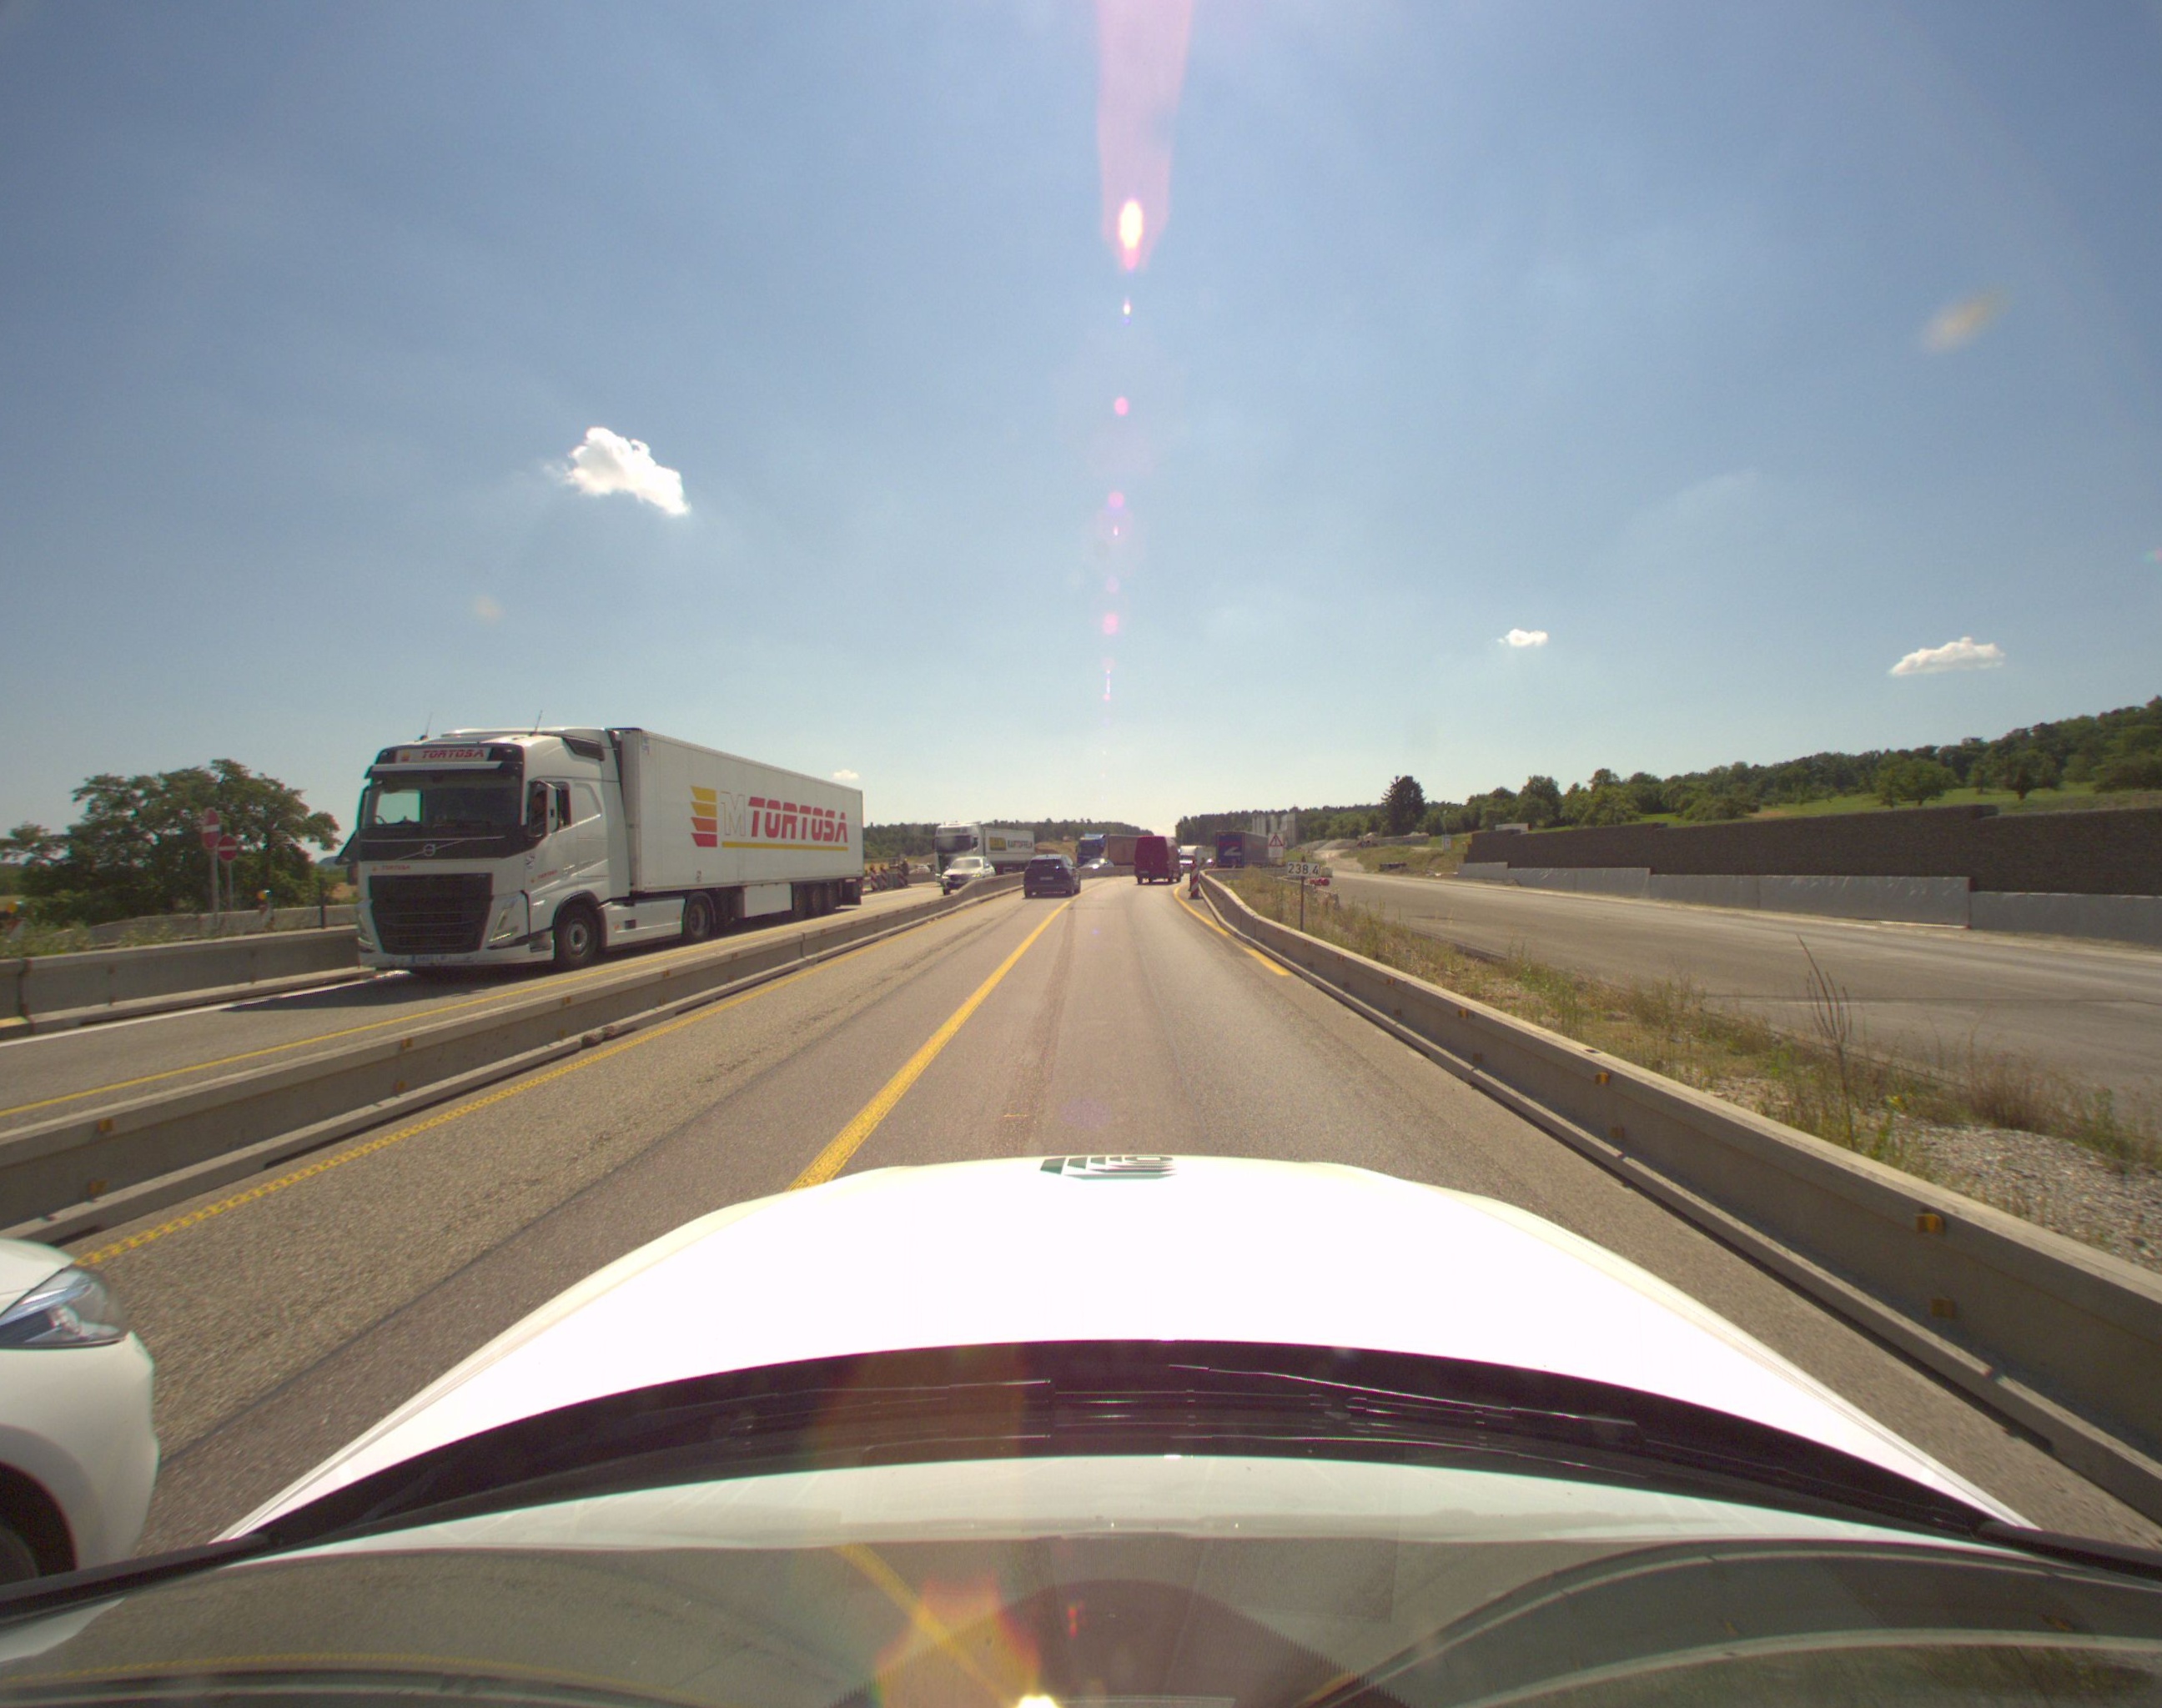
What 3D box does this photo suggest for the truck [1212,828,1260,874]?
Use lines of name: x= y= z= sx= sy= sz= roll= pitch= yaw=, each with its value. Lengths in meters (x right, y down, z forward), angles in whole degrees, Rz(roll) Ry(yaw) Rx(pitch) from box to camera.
truck: x=14.747 y=-0.220 z=76.916 sx=2.990 sy=4.153 sz=8.315 roll=-1 pitch=-1 yaw=21

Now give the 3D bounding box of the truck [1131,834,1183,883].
truck: x=4.500 y=0.266 z=47.088 sx=2.097 sy=2.633 sz=6.507 roll=-1 pitch=-1 yaw=13

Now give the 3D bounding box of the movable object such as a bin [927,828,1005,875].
movable object such as a bin: x=-11.213 y=-0.209 z=80.605 sx=2.897 sy=4.330 sz=9.380 roll=-1 pitch=-1 yaw=26

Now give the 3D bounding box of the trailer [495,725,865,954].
trailer: x=-8.960 y=-0.285 z=21.216 sx=2.805 sy=4.094 sz=13.127 roll=0 pitch=0 yaw=2

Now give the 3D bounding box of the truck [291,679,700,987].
truck: x=-9.163 y=-0.268 z=13.701 sx=2.820 sy=4.132 sz=5.459 roll=0 pitch=-1 yaw=1

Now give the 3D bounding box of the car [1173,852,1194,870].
car: x=9.592 y=0.663 z=76.037 sx=1.791 sy=1.579 sz=4.010 roll=-1 pitch=-1 yaw=9

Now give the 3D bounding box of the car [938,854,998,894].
car: x=-5.219 y=0.899 z=38.214 sx=1.985 sy=1.739 sz=4.496 roll=0 pitch=-1 yaw=3

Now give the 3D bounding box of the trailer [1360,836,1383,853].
trailer: x=72.155 y=-2.286 z=202.371 sx=2.752 sy=4.114 sz=6.732 roll=0 pitch=-1 yaw=-5

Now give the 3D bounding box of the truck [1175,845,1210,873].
truck: x=14.099 y=0.650 z=102.554 sx=2.556 sy=3.381 sz=6.965 roll=-1 pitch=-1 yaw=23

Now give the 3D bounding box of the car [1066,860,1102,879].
car: x=0.297 y=1.221 z=66.283 sx=1.741 sy=1.478 sz=4.556 roll=-1 pitch=-1 yaw=16

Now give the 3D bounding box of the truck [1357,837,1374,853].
truck: x=71.858 y=-2.259 z=205.804 sx=2.741 sy=4.096 sz=4.092 roll=0 pitch=-1 yaw=-6

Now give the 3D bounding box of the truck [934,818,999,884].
truck: x=-7.243 y=-0.174 z=52.258 sx=2.431 sy=4.008 sz=5.095 roll=-1 pitch=-1 yaw=13

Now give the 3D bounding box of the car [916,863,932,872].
car: x=-25.717 y=2.226 z=133.355 sx=1.606 sy=1.409 sz=4.447 roll=0 pitch=0 yaw=1

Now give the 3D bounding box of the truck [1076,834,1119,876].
truck: x=1.722 y=0.129 z=82.114 sx=2.522 sy=4.081 sz=5.574 roll=-1 pitch=-1 yaw=21

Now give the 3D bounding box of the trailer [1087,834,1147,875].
trailer: x=4.143 y=0.096 z=88.603 sx=2.565 sy=4.152 sz=13.131 roll=-1 pitch=-1 yaw=21

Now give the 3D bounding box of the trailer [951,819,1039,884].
trailer: x=-5.880 y=-0.111 z=58.819 sx=2.337 sy=4.152 sz=12.543 roll=-1 pitch=-1 yaw=13

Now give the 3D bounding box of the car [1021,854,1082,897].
car: x=-1.074 y=0.795 z=31.626 sx=1.786 sy=1.535 sz=3.938 roll=0 pitch=-1 yaw=6
